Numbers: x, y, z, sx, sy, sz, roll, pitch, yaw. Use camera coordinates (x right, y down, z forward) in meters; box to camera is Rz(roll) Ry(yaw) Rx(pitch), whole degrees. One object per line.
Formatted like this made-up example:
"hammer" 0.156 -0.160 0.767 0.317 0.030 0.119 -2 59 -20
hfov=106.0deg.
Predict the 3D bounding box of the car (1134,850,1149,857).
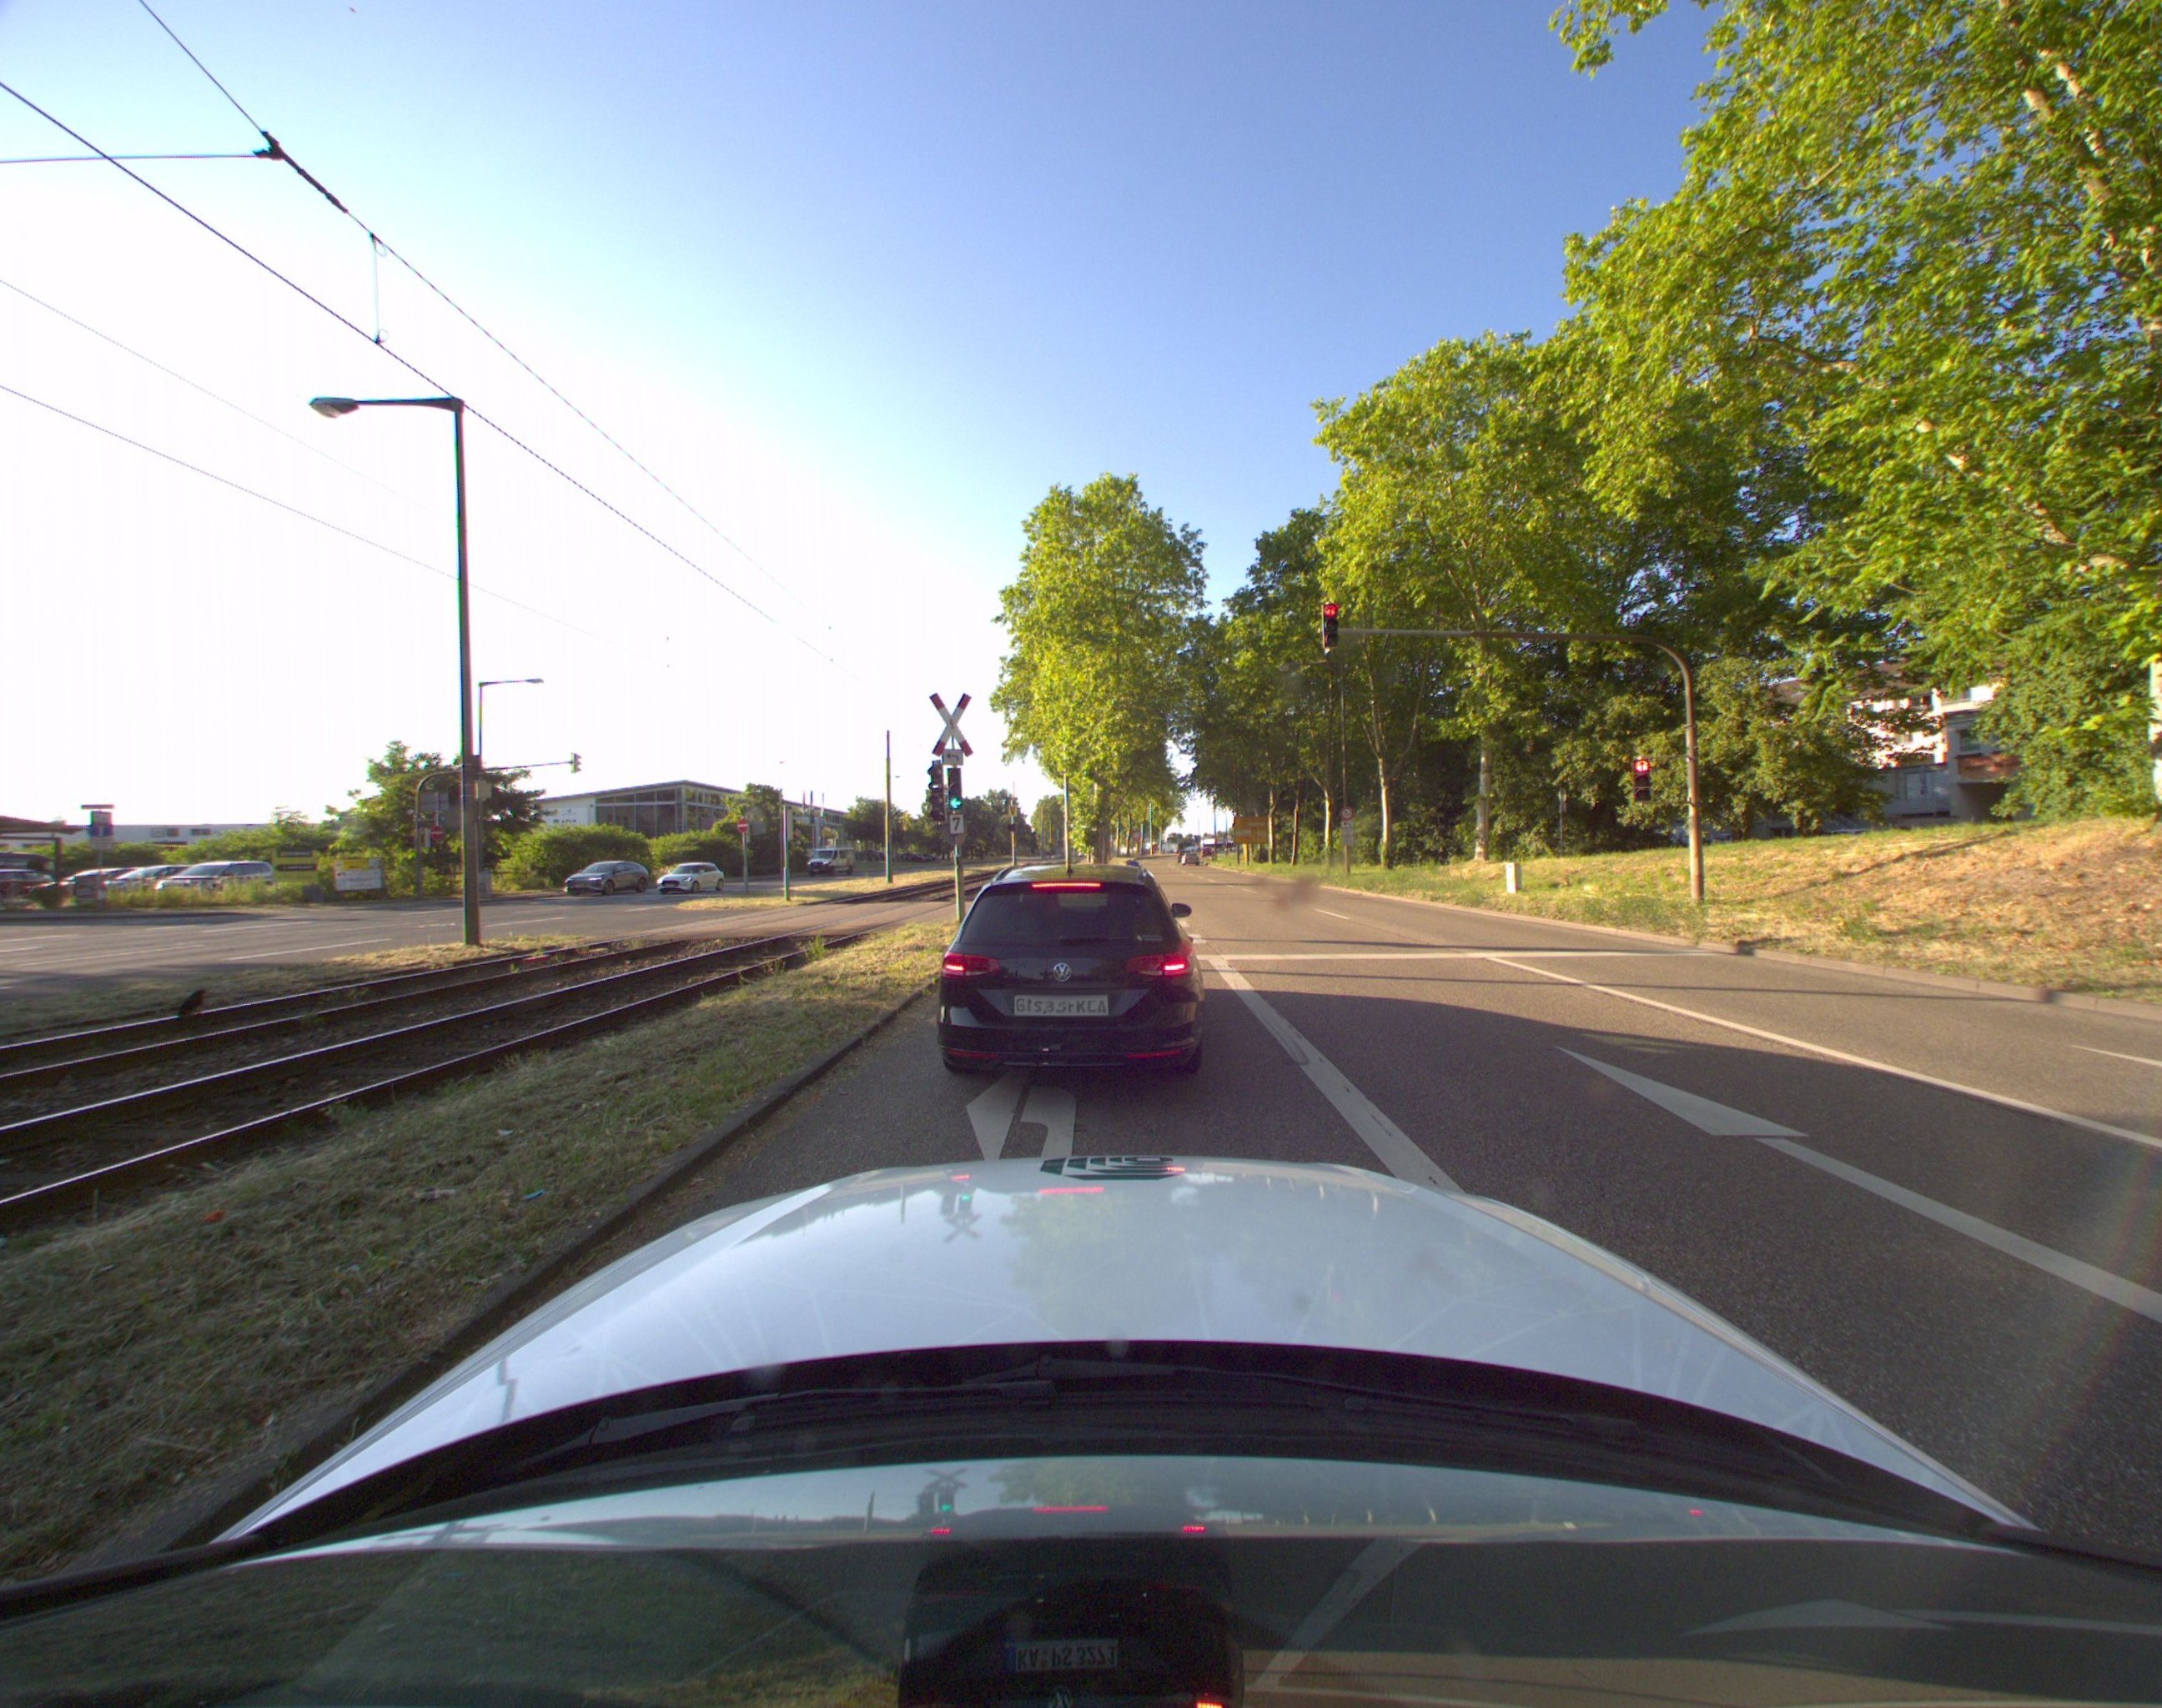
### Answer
"car" 12.396 -0.169 166.754 1.976 1.420 4.022 -1 0 23

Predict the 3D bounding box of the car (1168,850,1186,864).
"car" 11.567 0.334 98.356 1.701 1.561 4.168 -1 0 2

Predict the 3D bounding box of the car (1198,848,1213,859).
"car" 20.251 -0.052 132.777 1.858 1.635 4.388 2 0 15

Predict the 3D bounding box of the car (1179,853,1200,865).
"car" 11.362 0.523 85.395 1.604 1.294 3.980 0 0 -1

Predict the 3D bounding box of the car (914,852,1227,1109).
"car" -0.014 0.729 6.465 1.788 1.464 3.584 0 0 1
